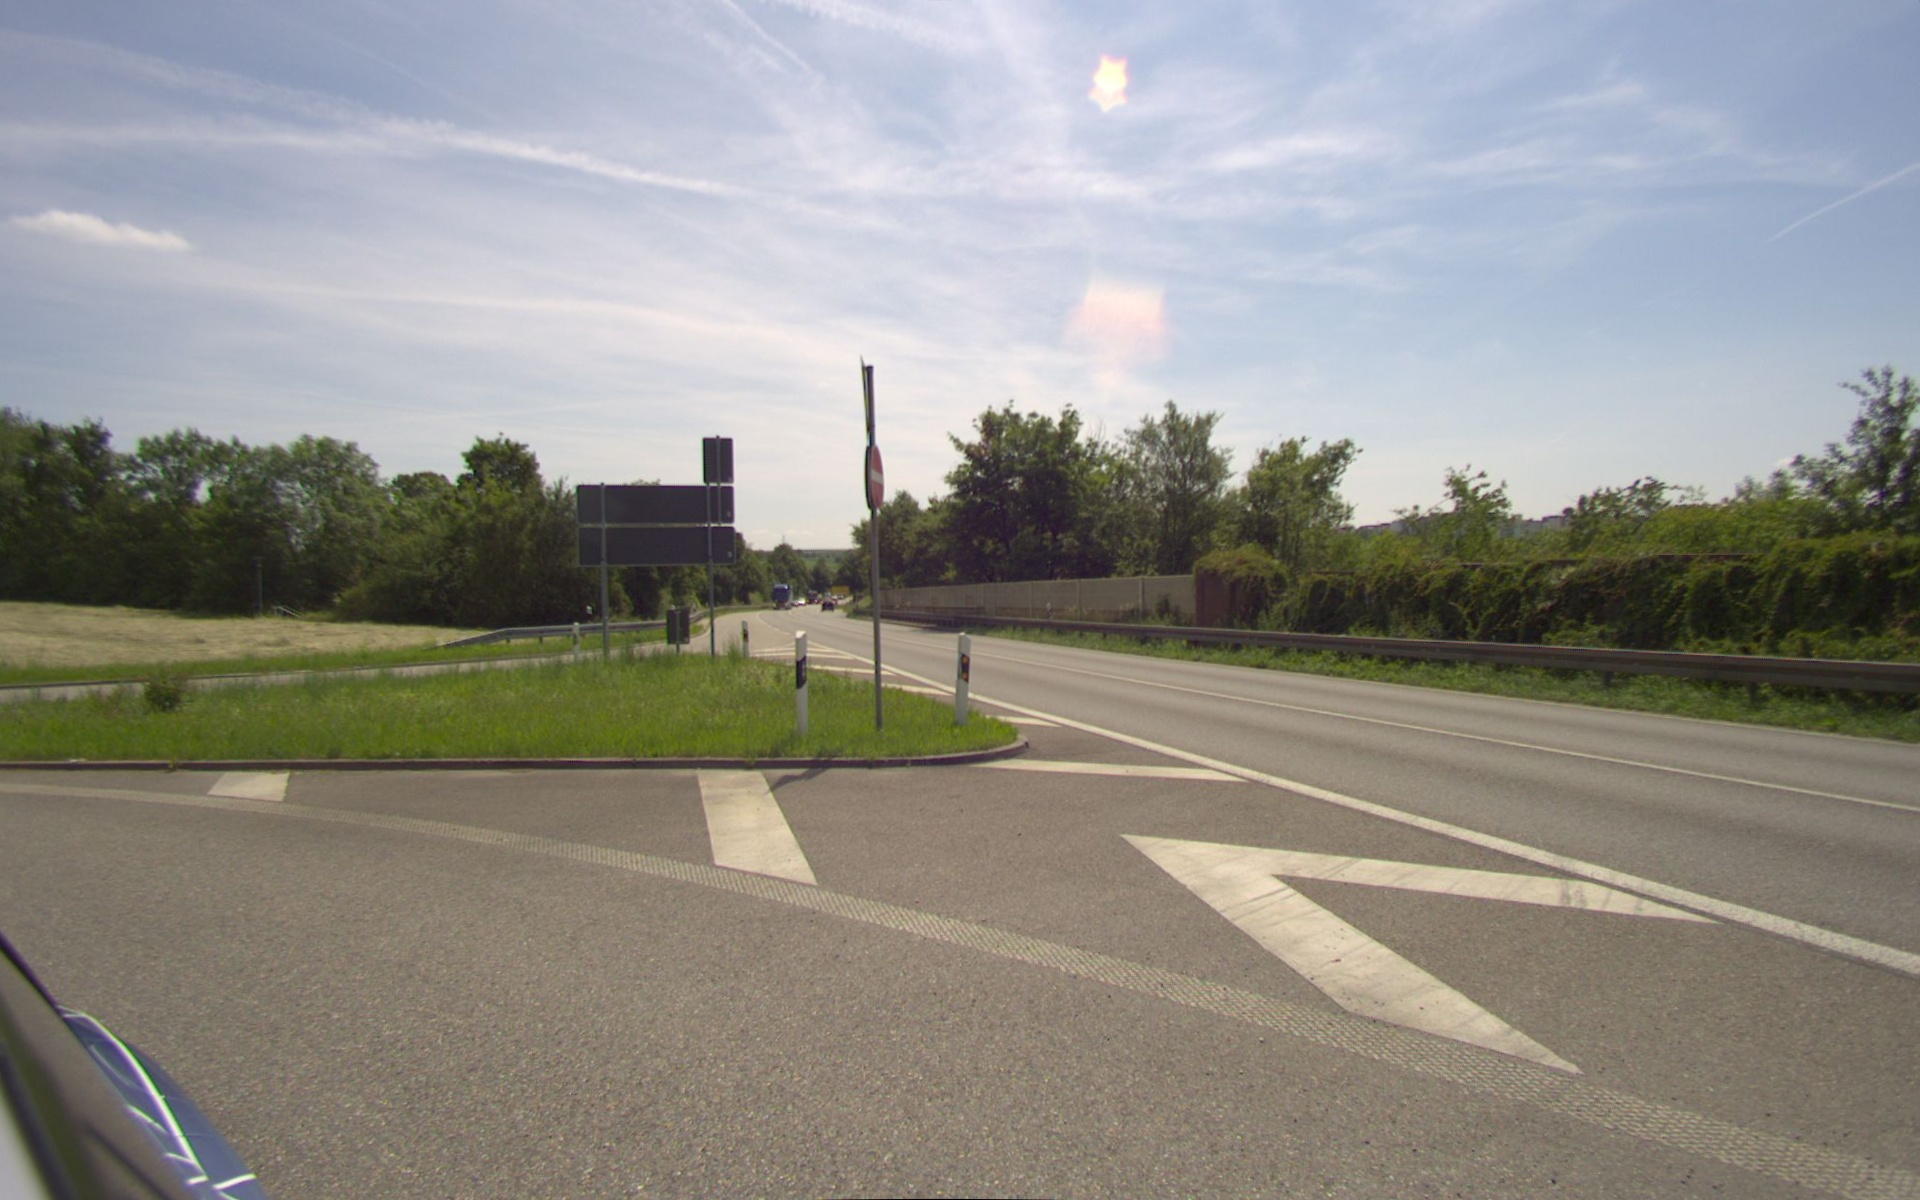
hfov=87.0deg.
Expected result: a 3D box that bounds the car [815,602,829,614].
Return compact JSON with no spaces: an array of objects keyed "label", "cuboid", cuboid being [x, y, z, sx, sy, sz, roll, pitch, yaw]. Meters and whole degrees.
[{"label":"car","cuboid":[-18.788,1.056,138.076,1.728,1.550,4.113,-2,1,-7]}]

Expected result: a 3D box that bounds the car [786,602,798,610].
[{"label":"car","cuboid":[-33.263,1.197,200.439,1.970,1.654,4.004,0,0,-4]}]

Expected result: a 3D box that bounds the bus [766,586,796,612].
[{"label":"bus","cuboid":[-28.487,-0.151,161.741,3.304,4.100,10.519,0,0,-2]}]
